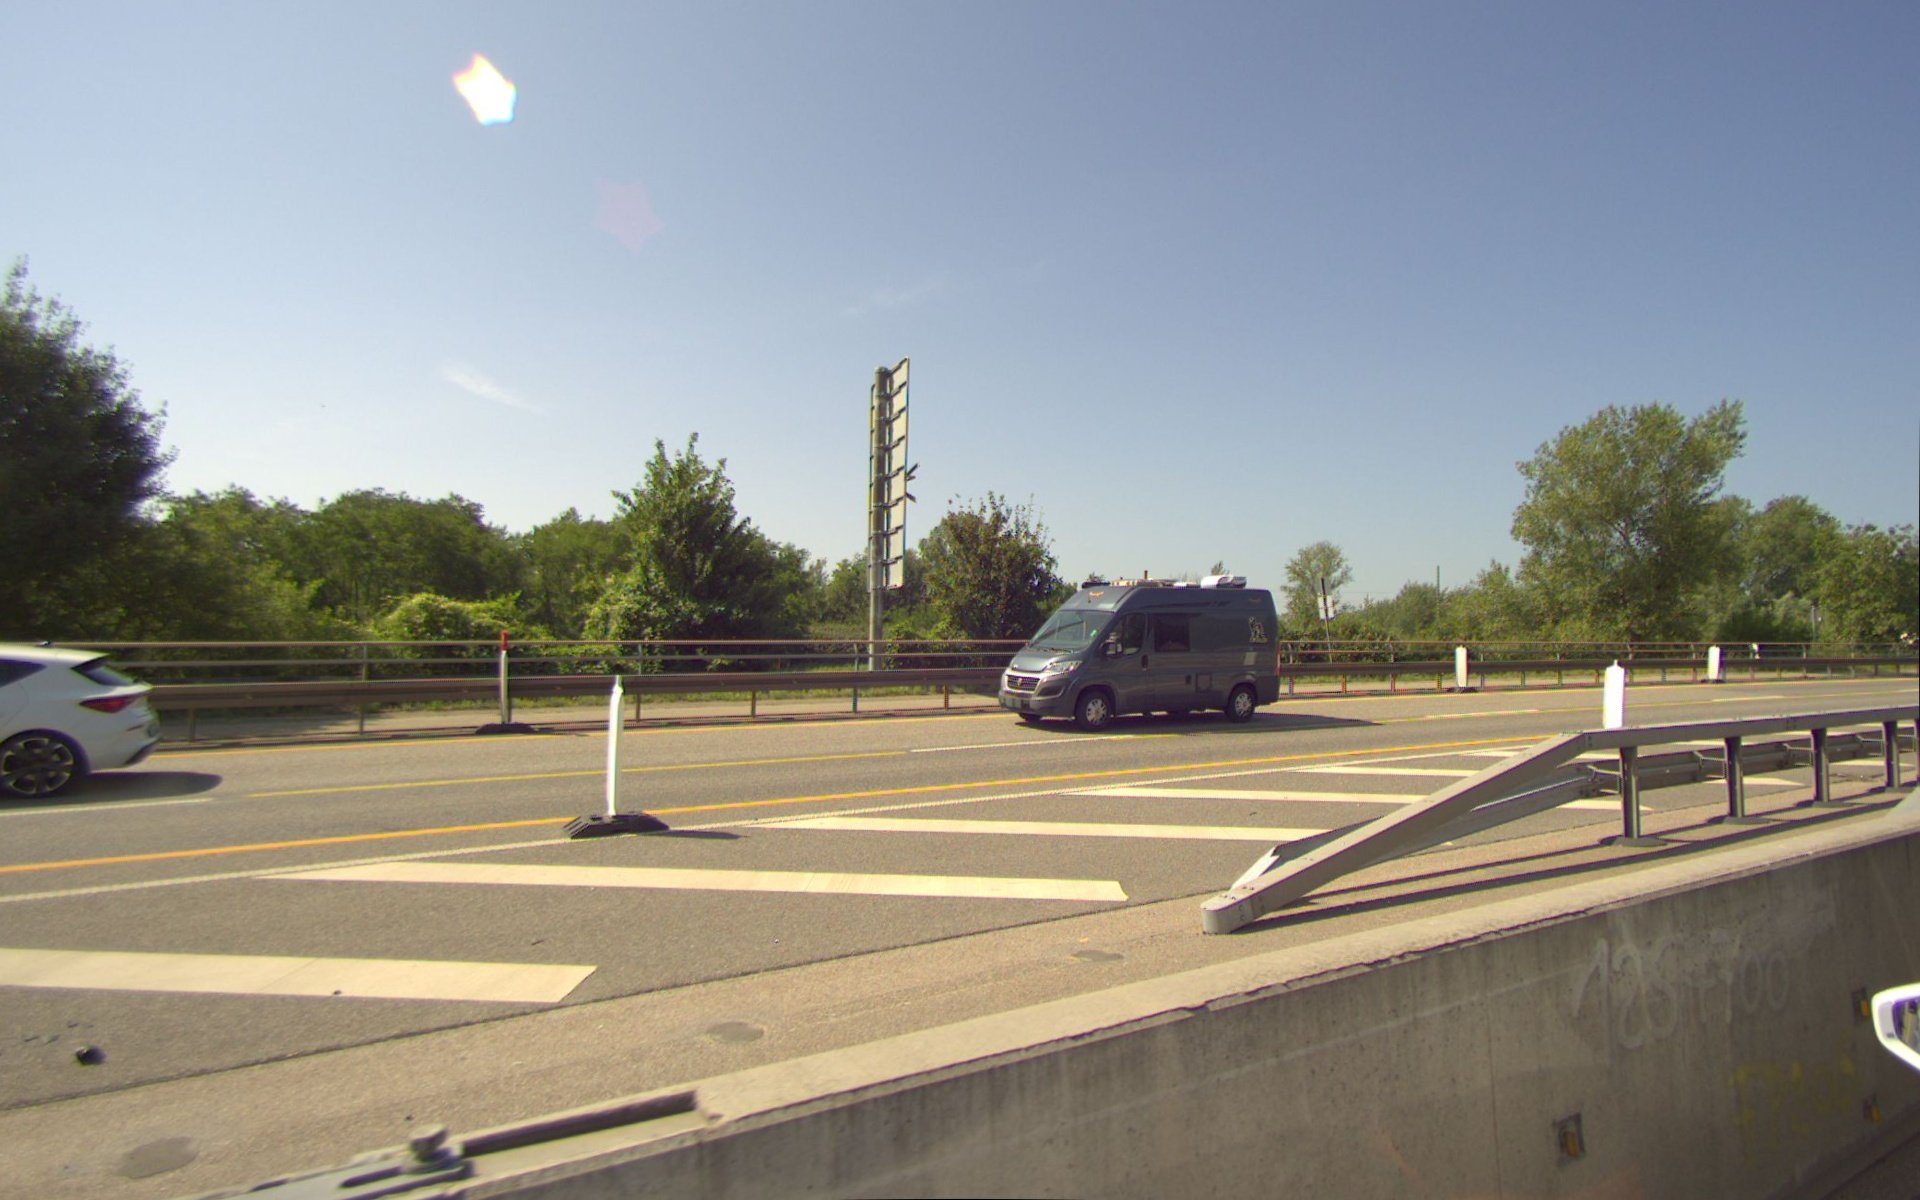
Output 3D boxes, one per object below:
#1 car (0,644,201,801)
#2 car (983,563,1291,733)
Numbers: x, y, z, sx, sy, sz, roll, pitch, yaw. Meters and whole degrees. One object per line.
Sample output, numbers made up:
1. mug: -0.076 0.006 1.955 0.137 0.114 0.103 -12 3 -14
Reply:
1. car: -10.213 1.161 9.621 4.467 1.415 1.711 1 -1 -30
2. car: 3.302 0.836 18.301 5.481 2.696 2.136 1 -2 -31
